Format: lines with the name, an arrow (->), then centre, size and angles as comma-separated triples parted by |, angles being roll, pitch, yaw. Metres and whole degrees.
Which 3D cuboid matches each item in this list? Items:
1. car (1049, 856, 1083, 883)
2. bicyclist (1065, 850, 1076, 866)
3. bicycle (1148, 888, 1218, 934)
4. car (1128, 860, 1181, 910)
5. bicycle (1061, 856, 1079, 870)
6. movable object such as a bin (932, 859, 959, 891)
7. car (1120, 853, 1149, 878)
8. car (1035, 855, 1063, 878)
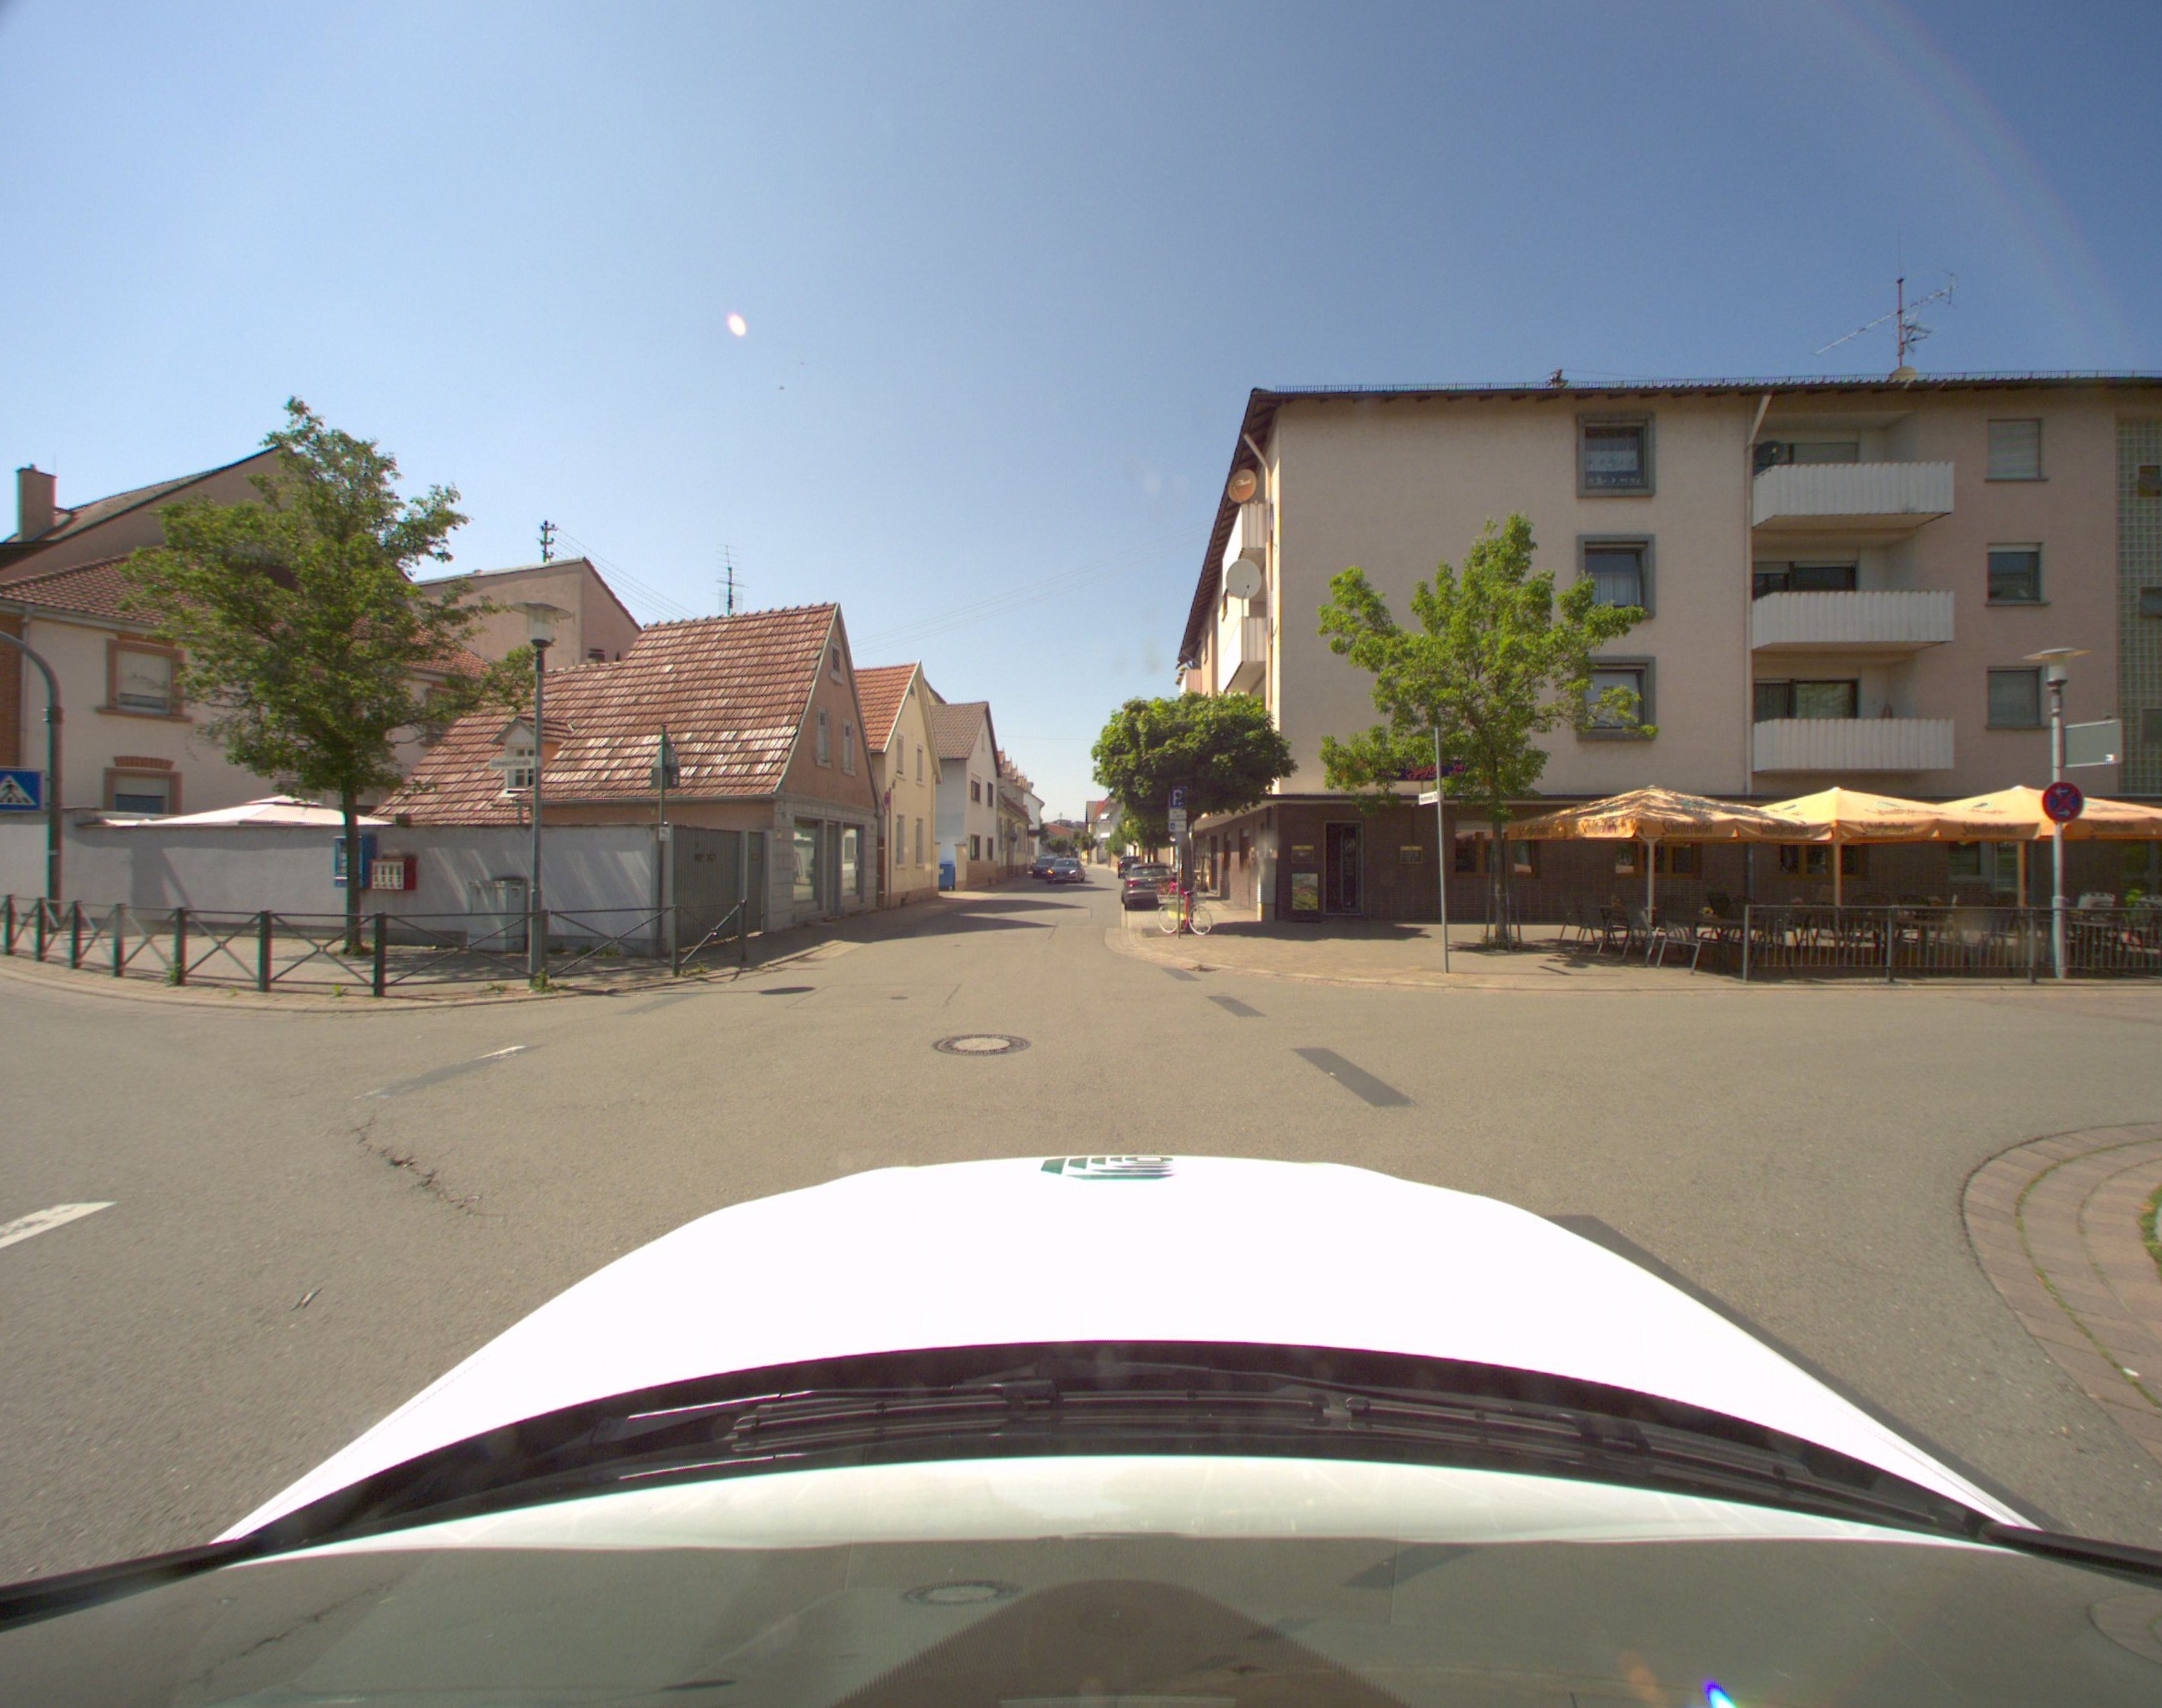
car -> -0.876, 0.983, 49.078 | 1.903, 1.482, 4.843 | -1, -2, 0
bicyclist -> -1.085, 0.381, 82.620 | 1.044, 1.637, 1.127 | -1, 0, -4
bicycle -> 2.145, 1.189, 17.223 | 1.396, 0.897, 0.468 | -2, 0, 39
car -> 2.304, 0.933, 25.855 | 1.569, 1.454, 3.490 | -1, 0, 4
bicycle -> -1.138, 0.937, 82.745 | 1.620, 1.370, 3.920 | -1, 0, -4
movable object such as a bin -> -5.945, 0.924, 35.701 | 1.096, 1.365, 0.390 | -1, 0, 5
car -> 3.888, 0.824, 59.710 | 2.035, 1.689, 4.844 | -1, 0, 2
car -> -2.230, 0.845, 57.029 | 1.657, 1.476, 4.136 | -1, 0, 2
